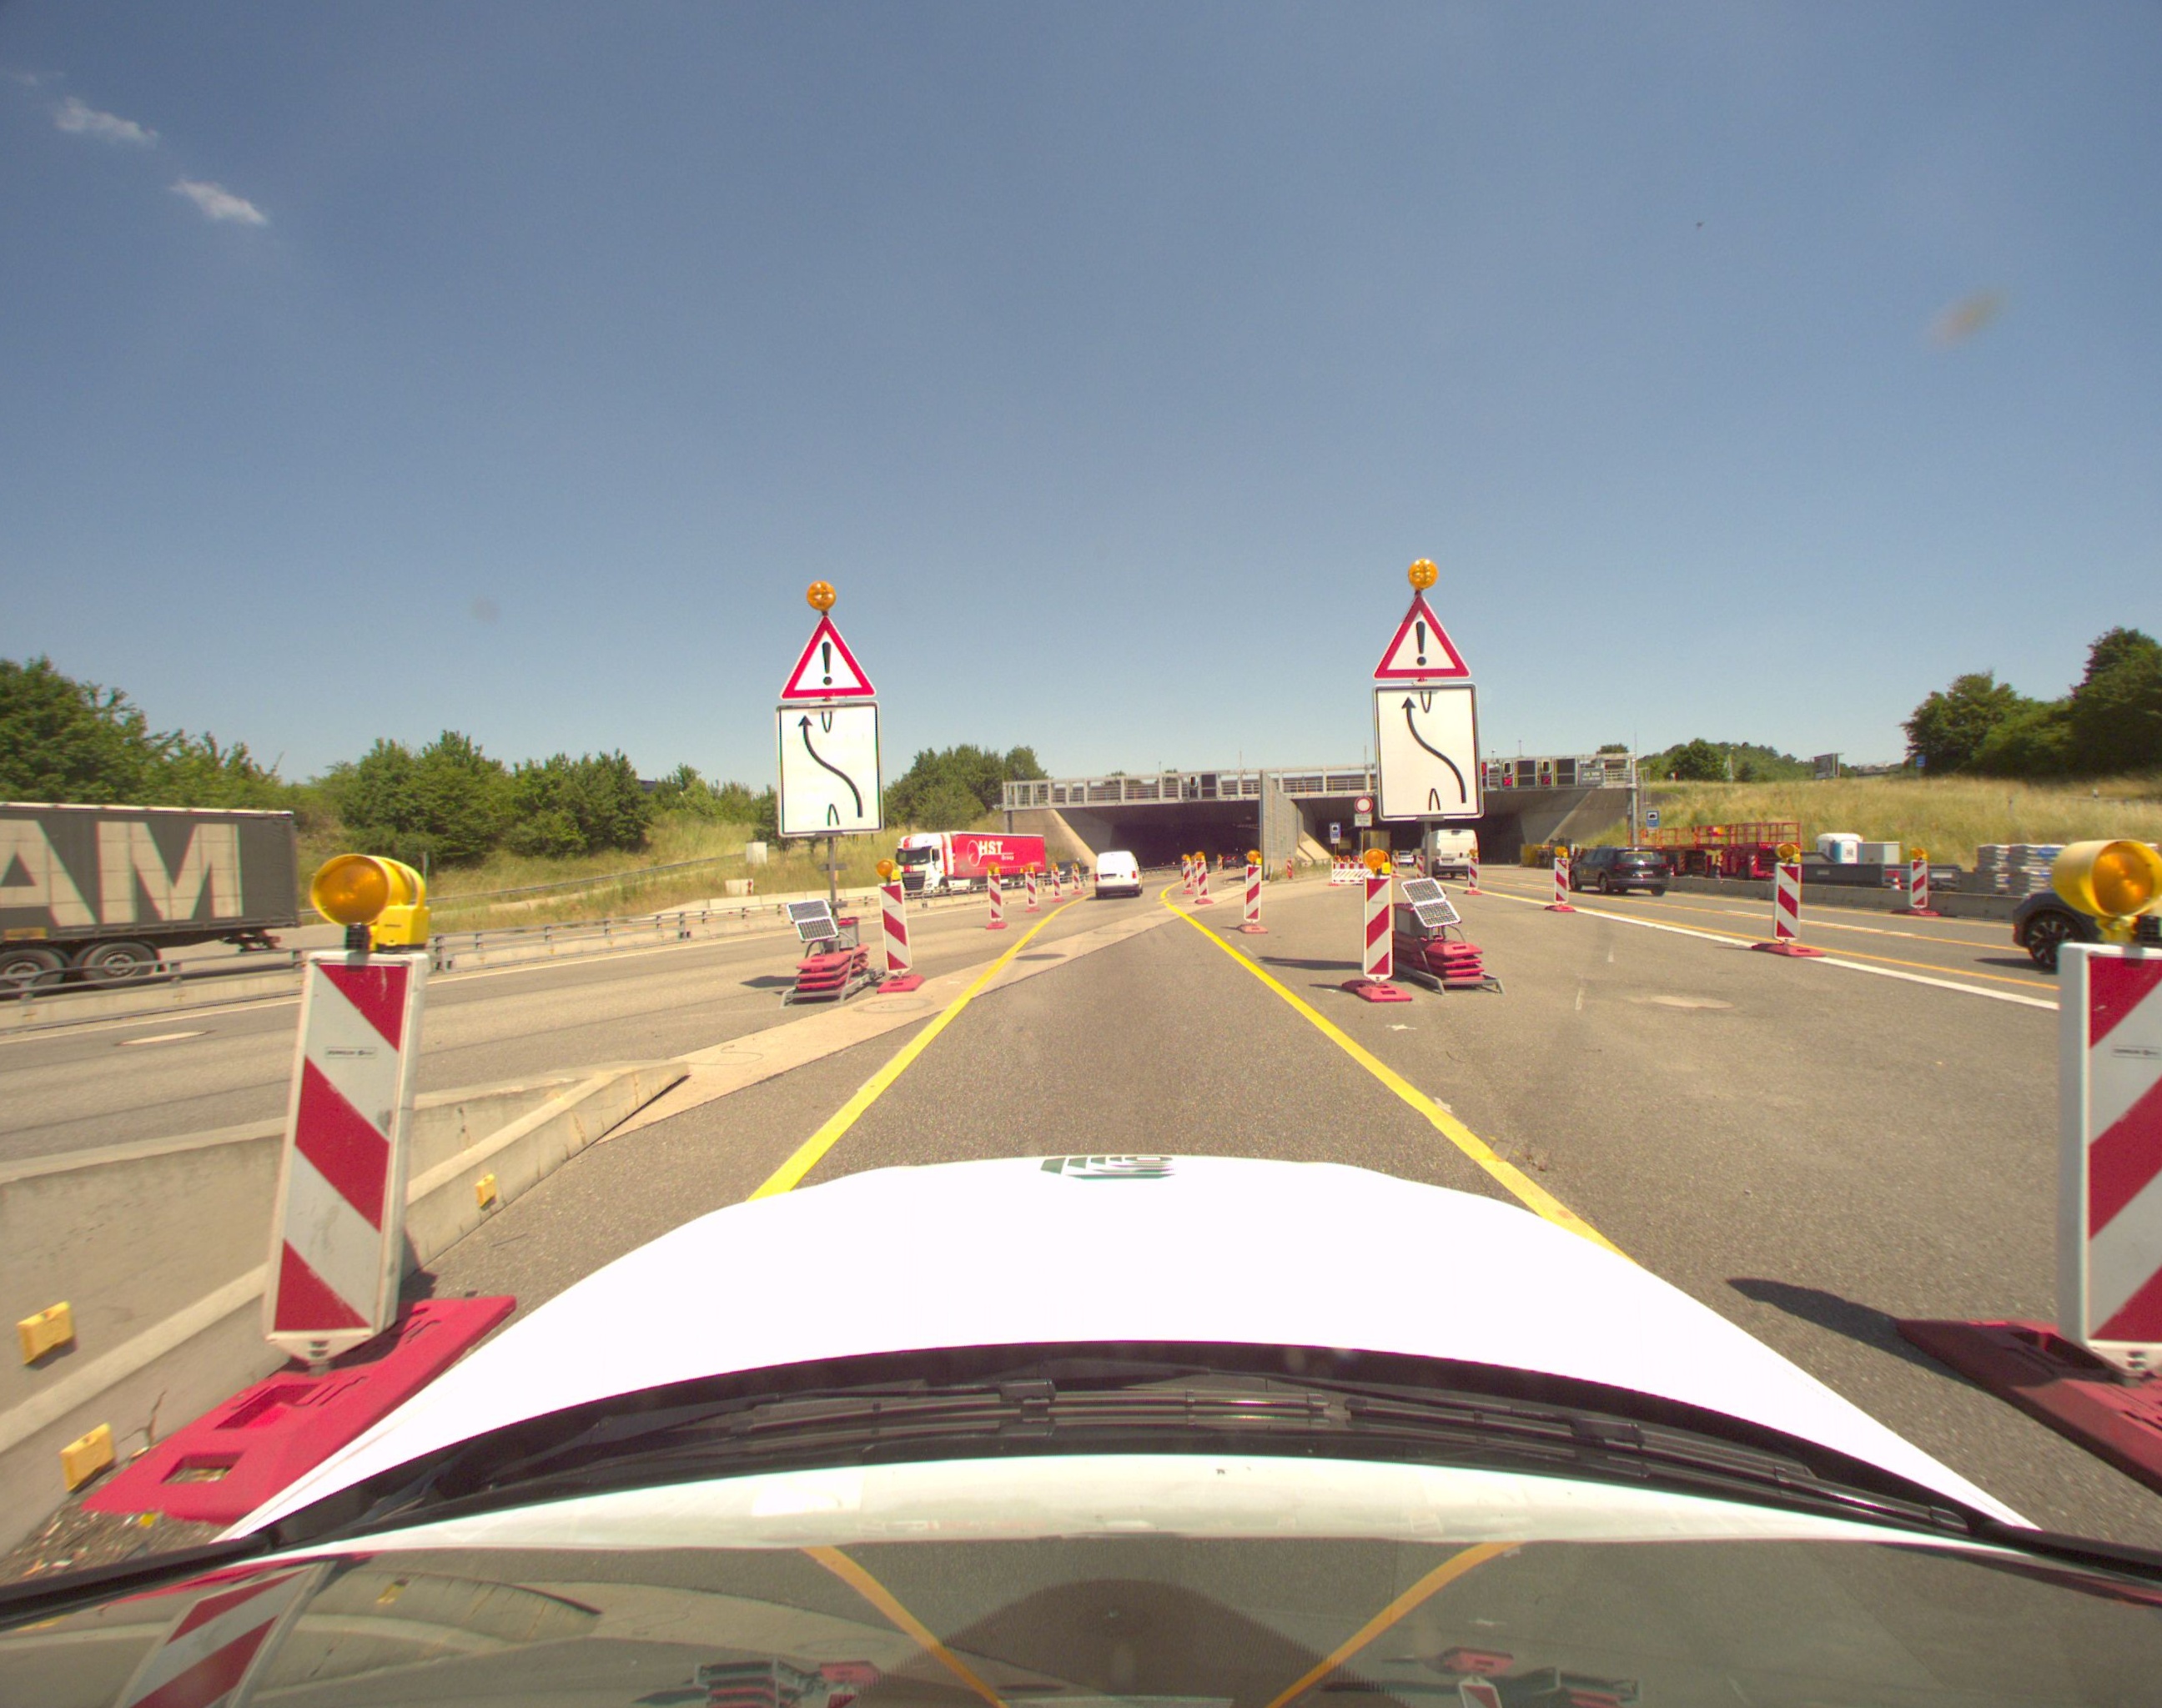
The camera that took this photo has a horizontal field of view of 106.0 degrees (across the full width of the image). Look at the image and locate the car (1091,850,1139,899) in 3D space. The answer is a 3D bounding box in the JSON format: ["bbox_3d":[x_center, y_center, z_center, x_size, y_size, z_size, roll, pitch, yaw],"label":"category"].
[{"bbox_3d":[1.414,0.803,33.058,1.801,1.794,3.734,-2,-1,3],"label":"car"}]

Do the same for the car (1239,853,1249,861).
[{"bbox_3d":[36.895,0.730,184.217,1.760,1.666,4.828,-4,-1,16],"label":"car"}]

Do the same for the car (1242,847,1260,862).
[{"bbox_3d":[20.883,0.026,99.938,1.795,1.751,4.428,-2,-1,16],"label":"car"}]

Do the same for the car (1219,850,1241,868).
[{"bbox_3d":[15.435,0.492,84.302,1.795,1.815,4.428,-2,-1,16],"label":"car"}]

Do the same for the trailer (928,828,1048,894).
[{"bbox_3d":[-6.210,0.446,57.944,2.317,4.102,13.331,-2,-1,22],"label":"trailer"}]

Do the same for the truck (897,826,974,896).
[{"bbox_3d":[-8.998,0.438,50.886,2.314,4.108,5.043,-2,-1,21],"label":"truck"}]

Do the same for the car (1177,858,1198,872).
[{"bbox_3d":[14.904,1.475,113.771,1.672,1.834,4.813,-5,-2,22],"label":"car"}]

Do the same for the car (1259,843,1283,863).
[{"bbox_3d":[27.368,-0.142,117.253,2.791,2.773,7.133,0,0,18],"label":"car"}]

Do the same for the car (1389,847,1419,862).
[{"bbox_3d":[31.167,0.074,78.757,1.804,1.464,4.665,0,-1,10],"label":"car"}]

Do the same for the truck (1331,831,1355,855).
[{"bbox_3d":[54.836,-2.190,170.889,3.379,4.335,16.590,0,-1,12],"label":"truck"}]

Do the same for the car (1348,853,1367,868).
[{"bbox_3d":[31.594,0.747,93.127,1.801,1.642,4.672,0,-1,16],"label":"car"}]

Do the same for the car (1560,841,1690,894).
[{"bbox_3d":[18.950,0.456,28.689,2.005,1.662,5.255,0,-1,12],"label":"car"}]

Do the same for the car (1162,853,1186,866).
[{"bbox_3d":[11.838,0.695,103.236,1.672,1.395,4.023,-5,-2,25],"label":"car"}]

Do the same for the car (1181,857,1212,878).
[{"bbox_3d":[9.527,1.074,66.718,1.794,1.537,4.429,-2,-1,17],"label":"car"}]

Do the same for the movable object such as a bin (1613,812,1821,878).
[{"bbox_3d":[35.212,-0.374,46.331,3.090,3.011,14.750,-3,-1,12],"label":"movable object such as a bin"}]

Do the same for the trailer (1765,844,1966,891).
[{"bbox_3d":[30.804,0.495,32.394,2.580,1.569,6.250,-3,0,8],"label":"trailer"}]

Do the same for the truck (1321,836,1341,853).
[{"bbox_3d":[64.540,-2.275,210.577,3.379,4.071,16.591,0,-1,12],"label":"truck"}]

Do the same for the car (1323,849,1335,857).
[{"bbox_3d":[48.162,-0.186,158.344,1.804,1.630,4.201,0,-1,9],"label":"car"}]

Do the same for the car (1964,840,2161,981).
[{"bbox_3d":[12.390,0.596,8.404,1.982,1.486,4.689,0,0,9],"label":"car"}]

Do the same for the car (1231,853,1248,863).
[{"bbox_3d":[26.648,0.692,136.642,1.727,1.593,4.251,-4,-1,23],"label":"car"}]

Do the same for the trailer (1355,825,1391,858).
[{"bbox_3d":[38.706,-1.499,108.332,2.714,4.062,14.143,0,-1,13],"label":"trailer"}]

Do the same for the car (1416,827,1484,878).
[{"bbox_3d":[19.908,-0.041,44.237,2.249,2.536,6.610,0,-1,14],"label":"car"}]

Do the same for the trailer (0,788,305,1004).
[{"bbox_3d":[-23.516,0.880,14.669,2.414,4.297,13.886,-2,-1,23],"label":"trailer"}]

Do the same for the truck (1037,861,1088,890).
[{"bbox_3d":[-1.319,1.549,59.793,1.976,1.873,4.787,-3,0,22],"label":"truck"}]
